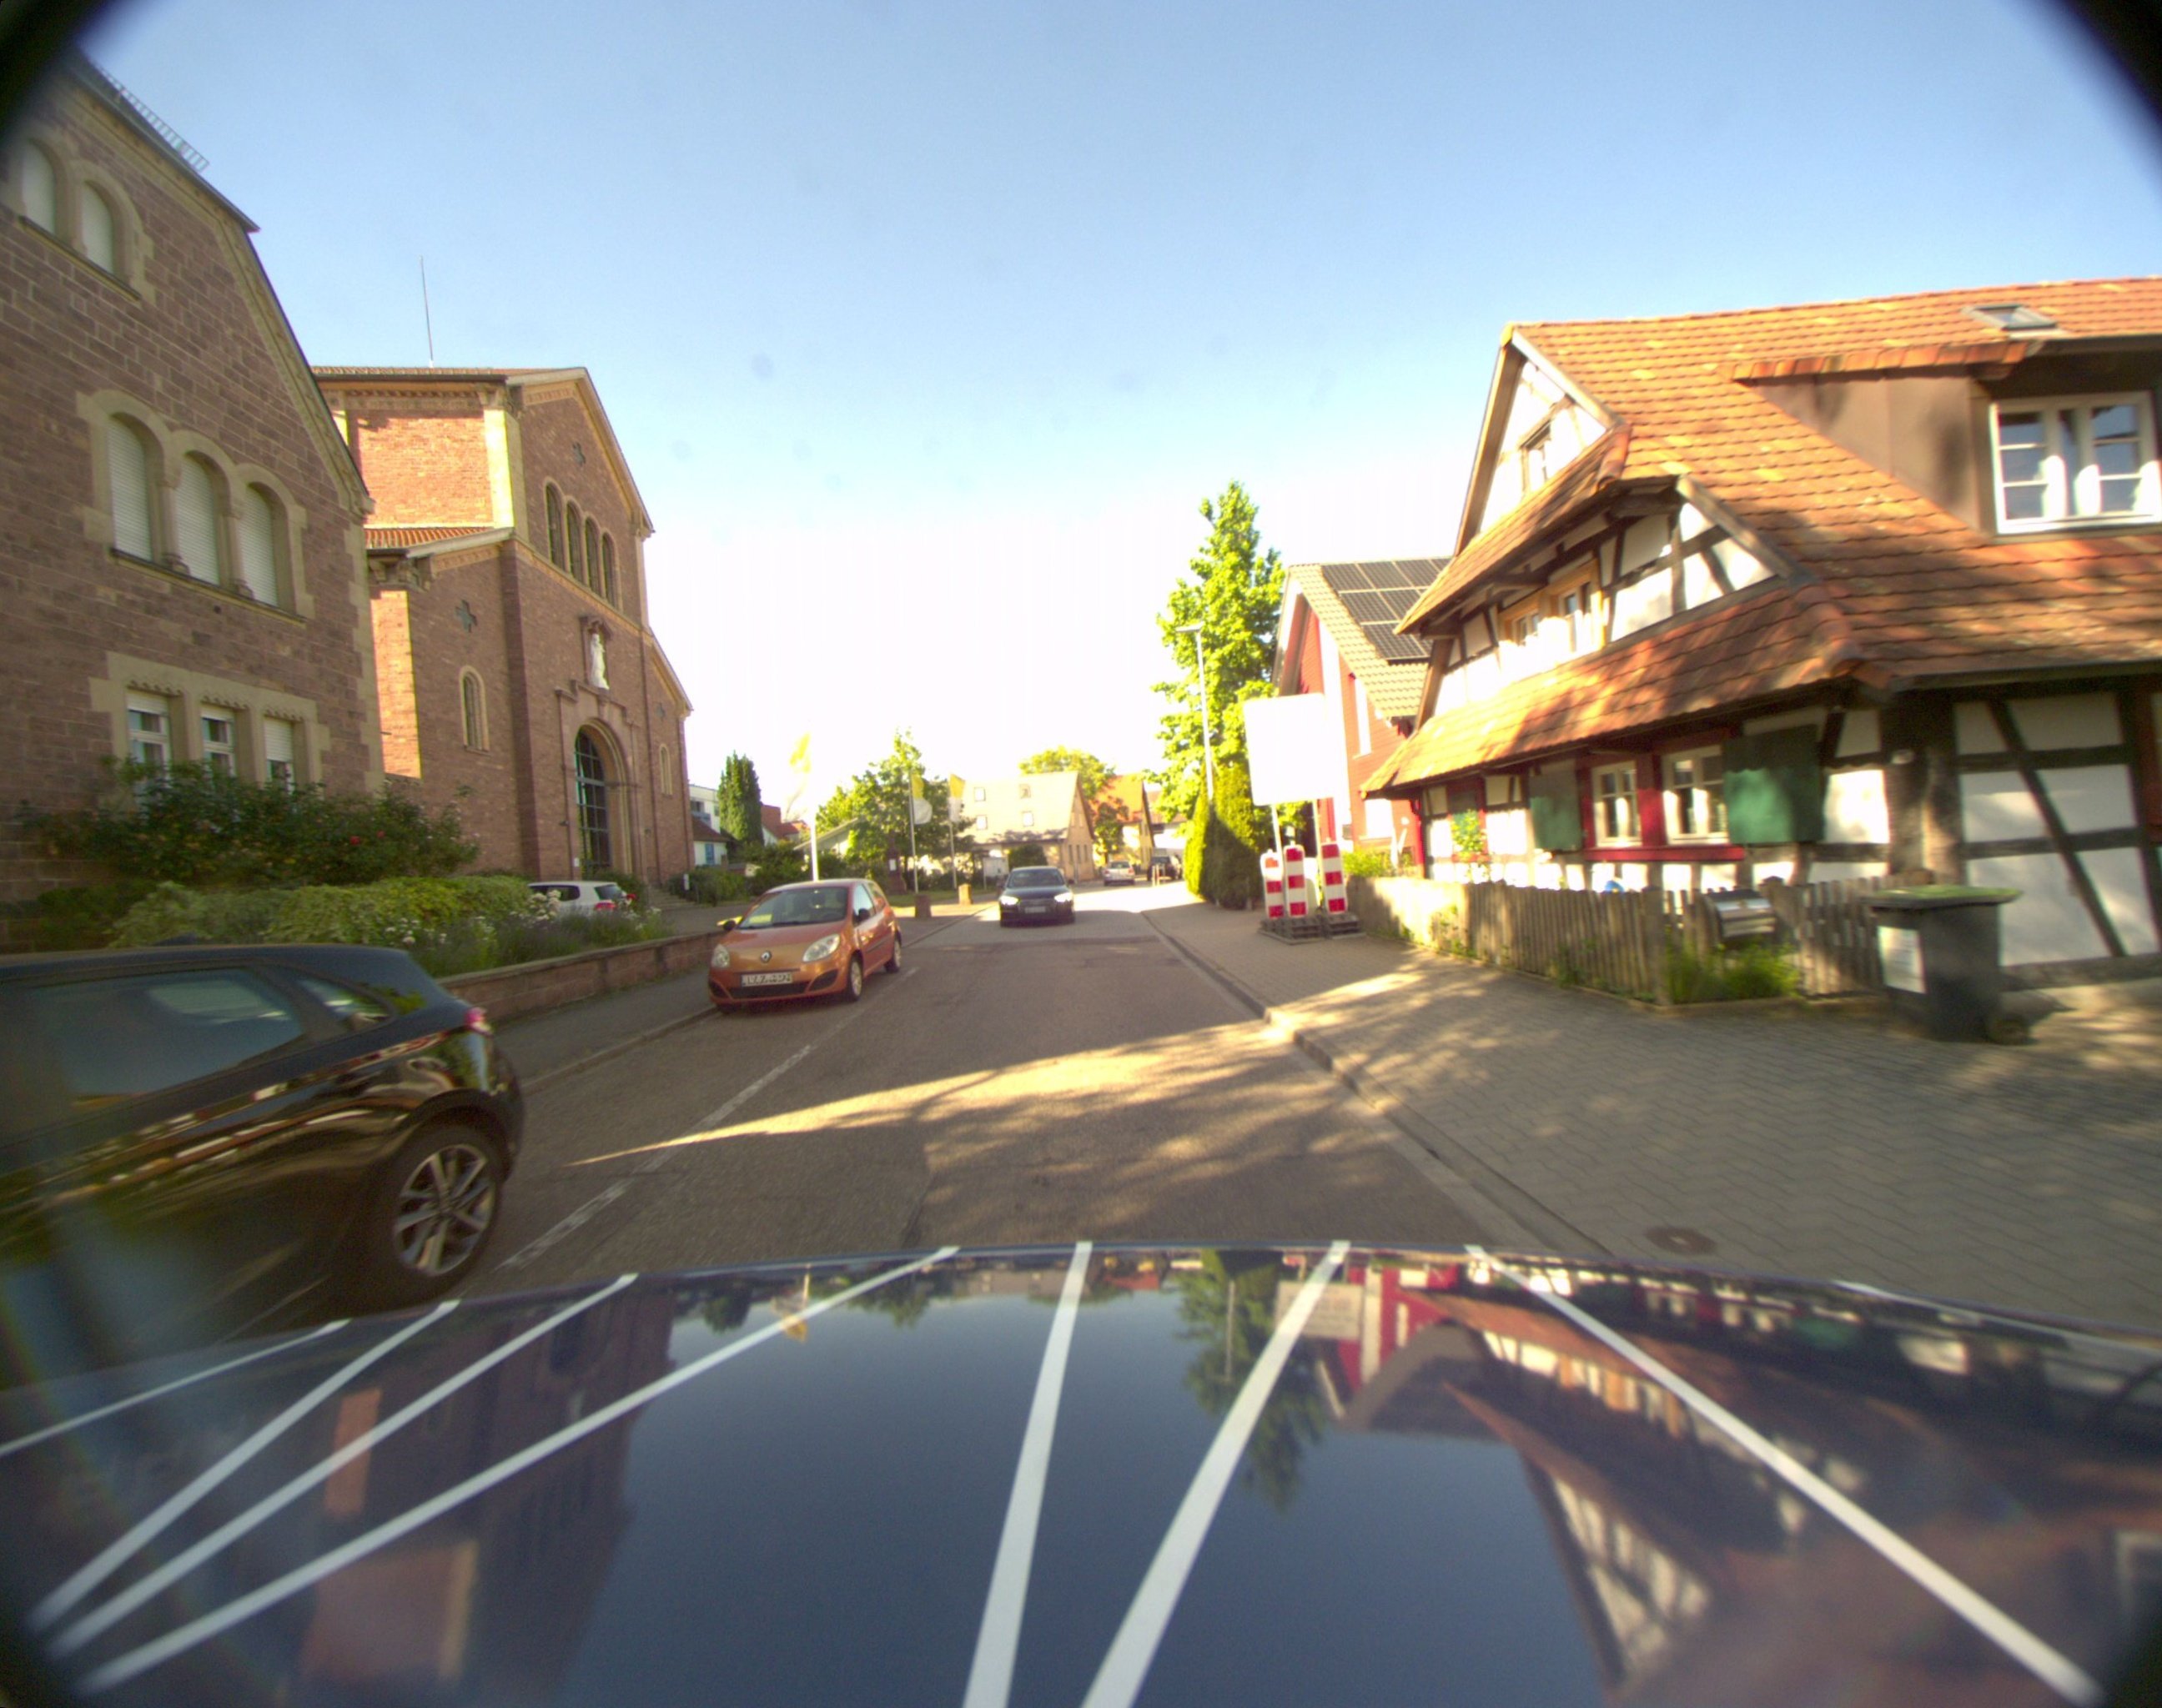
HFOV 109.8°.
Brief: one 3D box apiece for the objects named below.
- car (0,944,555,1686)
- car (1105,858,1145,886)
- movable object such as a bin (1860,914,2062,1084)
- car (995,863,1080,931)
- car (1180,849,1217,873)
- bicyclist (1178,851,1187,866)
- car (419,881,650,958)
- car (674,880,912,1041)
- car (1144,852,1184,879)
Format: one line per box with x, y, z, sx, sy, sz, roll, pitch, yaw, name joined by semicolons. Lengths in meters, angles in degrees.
-3.311;1.178;1.317;1.812;1.427;4.285;-5;0;-2;car
2.551;0.976;43.248;1.673;1.394;3.895;-3;0;12;car
5.233;0.833;4.557;0.584;0.892;0.556;-2;1;20;movable object such as a bin
-1.006;1.025;19.718;1.807;1.469;4.344;-2;0;1;car
9.246;0.498;59.465;1.834;1.779;4.359;-1;0;22;car
9.244;0.410;69.260;0.581;1.312;0.609;-2;0;22;bicyclist
-12.582;1.471;17.754;3.910;1.488;1.903;-1;1;-7;car
-3.496;1.199;10.055;1.652;1.470;3.933;-5;0;-2;car
5.378;0.736;48.834;1.834;1.661;4.358;-1;-1;16;car
